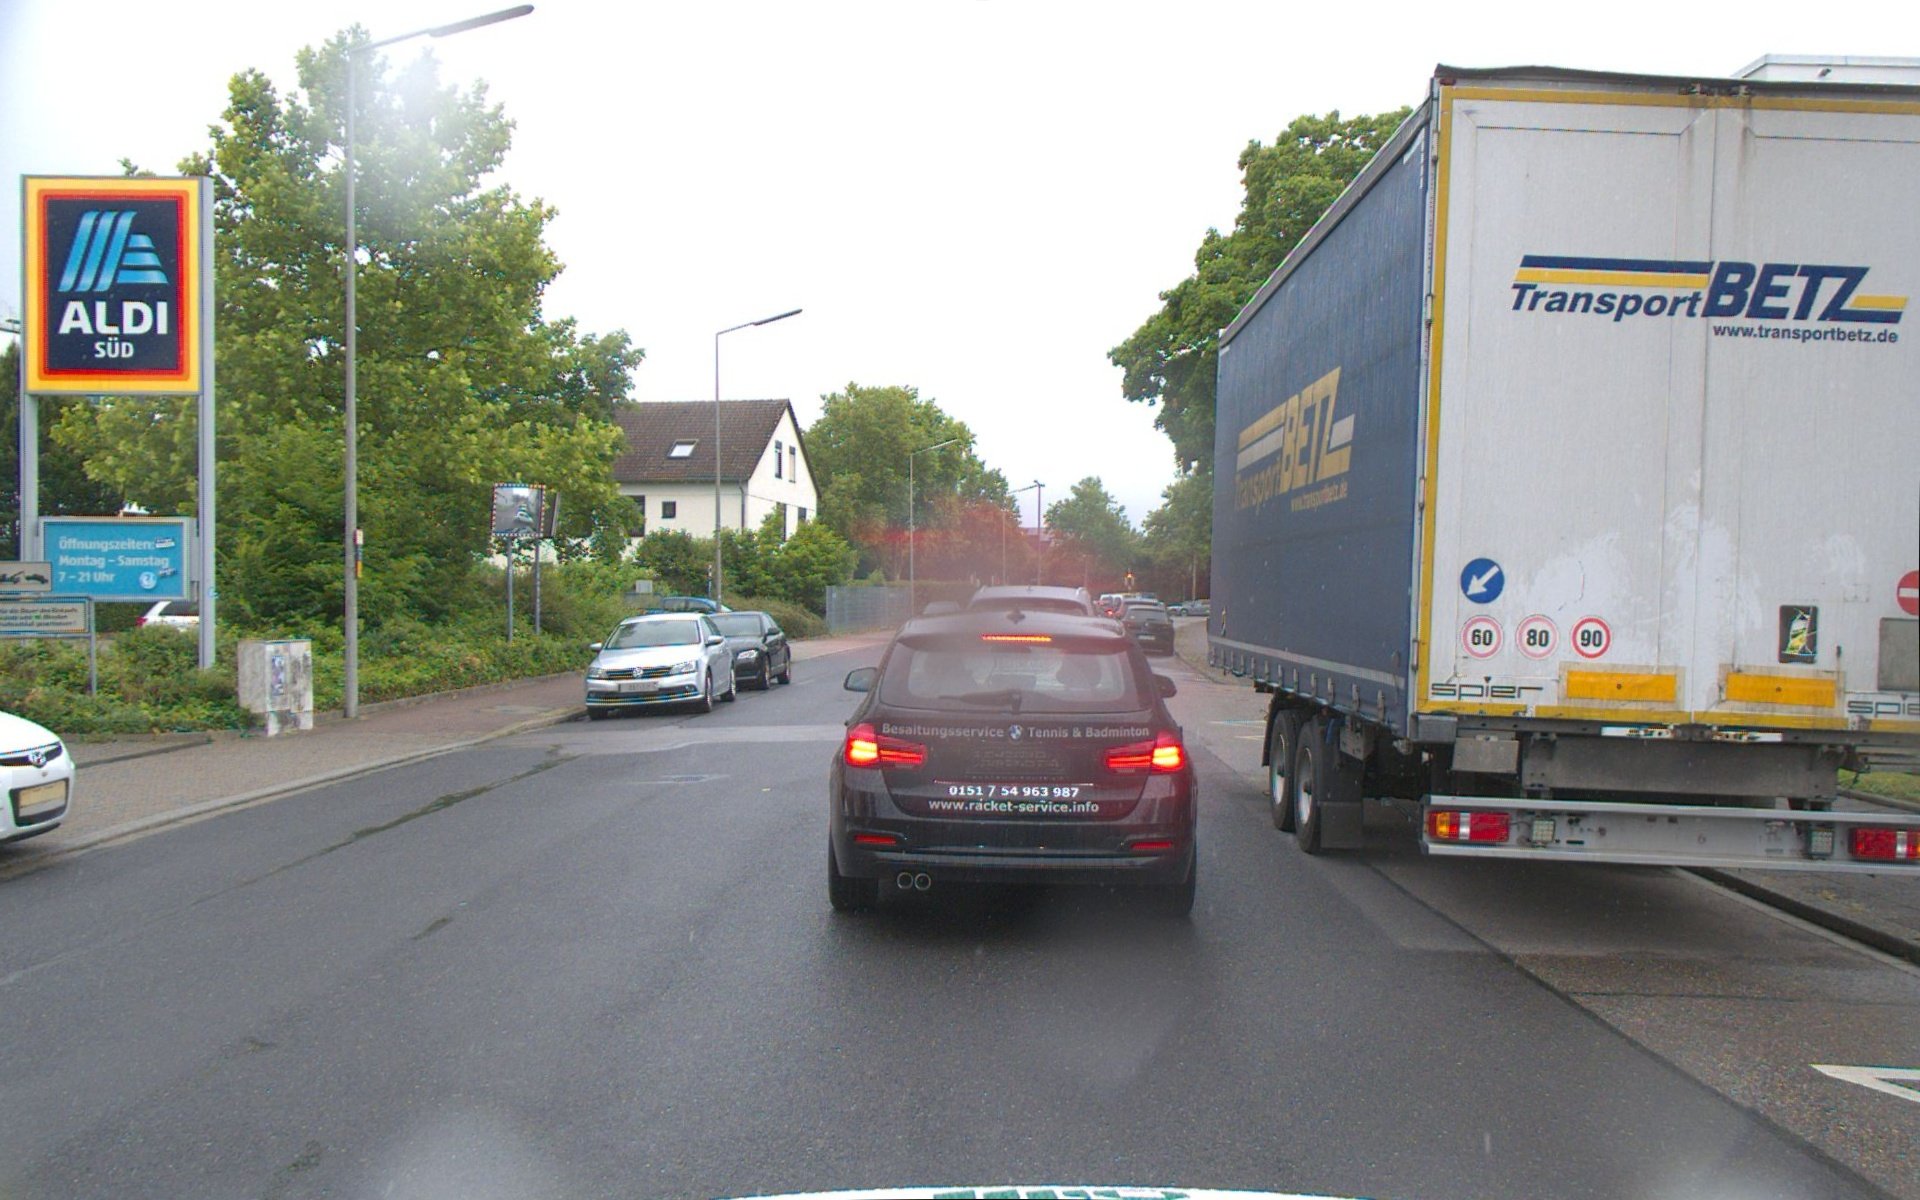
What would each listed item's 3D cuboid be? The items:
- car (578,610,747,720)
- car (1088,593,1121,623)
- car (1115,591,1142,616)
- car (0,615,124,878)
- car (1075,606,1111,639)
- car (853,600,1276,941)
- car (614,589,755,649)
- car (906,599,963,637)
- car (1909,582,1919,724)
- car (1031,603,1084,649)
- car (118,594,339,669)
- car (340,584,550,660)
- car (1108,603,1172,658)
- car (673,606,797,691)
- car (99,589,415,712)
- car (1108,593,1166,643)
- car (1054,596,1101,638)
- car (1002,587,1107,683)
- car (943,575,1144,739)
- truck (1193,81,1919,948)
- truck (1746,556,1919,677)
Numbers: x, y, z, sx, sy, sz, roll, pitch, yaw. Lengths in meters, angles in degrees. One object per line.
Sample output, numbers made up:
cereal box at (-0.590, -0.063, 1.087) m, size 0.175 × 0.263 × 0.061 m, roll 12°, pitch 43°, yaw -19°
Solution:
car at (-4.353, 0.905, 24.877) m, size 1.671 × 1.391 × 4.601 m, roll -2°, pitch 0°, yaw 0°
car at (8.089, 0.433, 92.239) m, size 1.766 × 1.614 × 4.003 m, roll 0°, pitch 0°, yaw 6°
car at (11.237, 0.214, 110.177) m, size 1.766 × 1.614 × 4.003 m, roll 0°, pitch 0°, yaw 6°
car at (-7.602, 0.820, 10.055) m, size 4.108 × 1.485 × 1.711 m, roll 1°, pitch 0°, yaw -5°
car at (6.835, 1.152, 84.800) m, size 1.766 × 1.614 × 4.002 m, roll 1°, pitch 0°, yaw 6°
car at (0.322, 0.737, 8.963) m, size 1.769 × 1.419 × 3.997 m, roll 1°, pitch 0°, yaw -4°
car at (-8.160, 0.549, 49.172) m, size 3.744 × 1.622 × 1.712 m, roll -2°, pitch 0°, yaw 6°
car at (-1.010, 0.714, 67.267) m, size 1.669 × 1.391 × 3.841 m, roll -2°, pitch 0°, yaw 8°
car at (11.848, 0.573, 16.349) m, size 4.072 × 1.440 × 1.683 m, roll 2°, pitch 3°, yaw 39°
car at (3.596, 0.931, 60.475) m, size 1.766 × 1.614 × 4.002 m, roll 1°, pitch 0°, yaw 6°
car at (-15.751, 0.659, 35.743) m, size 3.906 × 1.567 × 1.910 m, roll 0°, pitch 0°, yaw -1°
car at (-11.011, 0.465, 35.537) m, size 3.906 × 1.567 × 1.910 m, roll 0°, pitch 0°, yaw -1°
car at (5.549, 0.936, 51.228) m, size 1.766 × 1.614 × 4.002 m, roll 1°, pitch 0°, yaw 4°
car at (-4.126, 0.858, 30.873) m, size 1.670 × 1.391 × 3.839 m, roll -2°, pitch 0°, yaw 1°
car at (-9.464, 0.664, 22.457) m, size 3.497 × 1.485 × 1.712 m, roll 2°, pitch 0°, yaw -1°
car at (5.992, 0.596, 56.398) m, size 1.766 × 1.614 × 4.002 m, roll 1°, pitch 0°, yaw 4°
car at (4.792, 0.671, 66.966) m, size 1.766 × 1.614 × 4.002 m, roll 1°, pitch 0°, yaw 6°
car at (1.746, 0.622, 30.389) m, size 1.766 × 1.614 × 4.002 m, roll 1°, pitch 0°, yaw 4°
car at (0.818, 0.584, 18.515) m, size 1.769 × 1.614 × 3.997 m, roll 1°, pitch 0°, yaw -4°
truck at (3.430, -0.361, 11.058) m, size 2.684 × 3.674 × 7.751 m, roll 2°, pitch 0°, yaw 1°
truck at (18.538, 0.305, 30.884) m, size 6.782 × 2.177 × 2.094 m, roll 0°, pitch 0°, yaw -1°
